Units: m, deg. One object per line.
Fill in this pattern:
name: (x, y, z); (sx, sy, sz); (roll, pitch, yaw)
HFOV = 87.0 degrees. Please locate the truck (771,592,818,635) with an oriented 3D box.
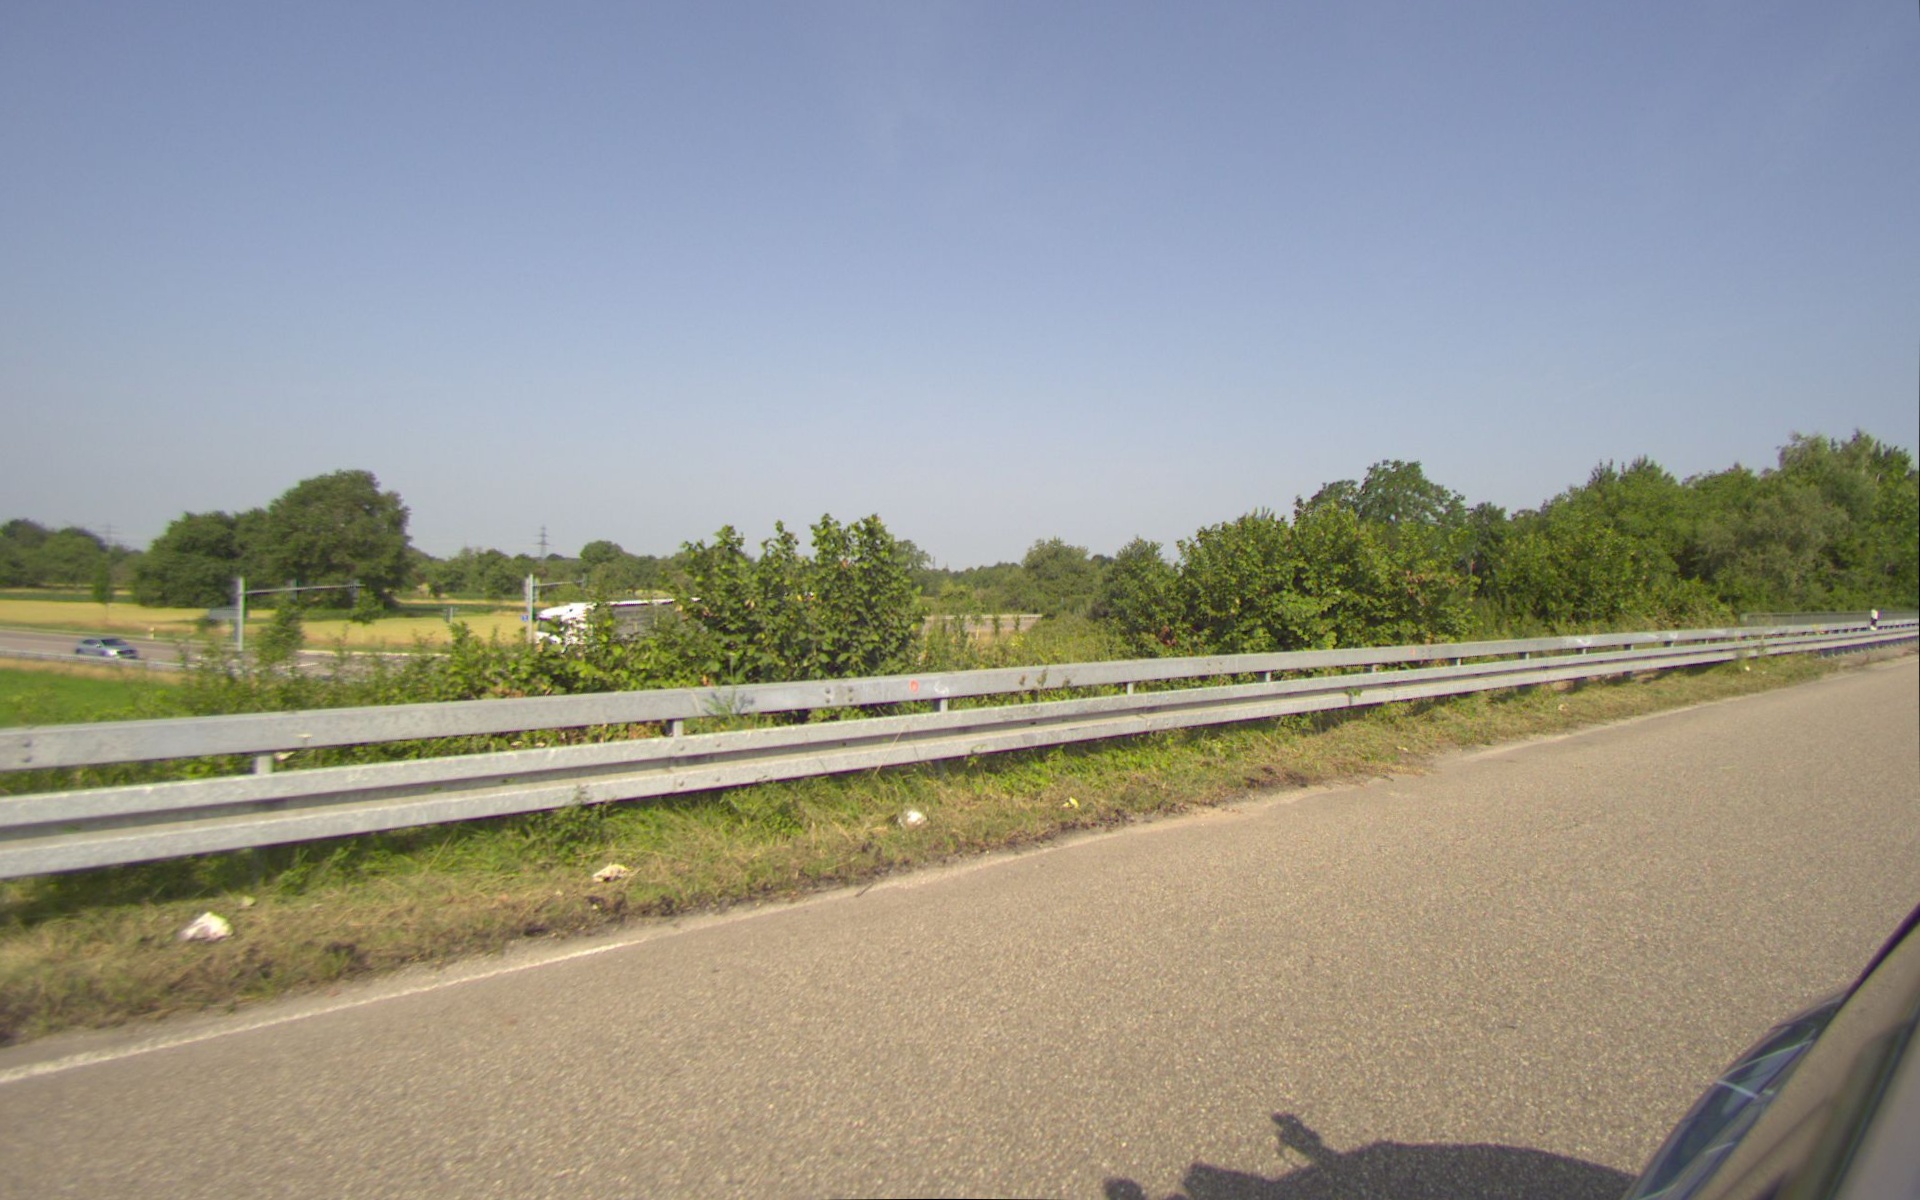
truck: (-16.535, 1.295, 101.364); (2.247, 4.222, 4.317); (1, 1, 35)

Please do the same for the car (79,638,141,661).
car: (-58.663, 3.425, 69.858); (3.558, 1.496, 1.697); (-2, -2, 20)

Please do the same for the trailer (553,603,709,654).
trailer: (-26.125, 2.140, 81.650); (2.093, 3.699, 13.767); (1, 0, 32)

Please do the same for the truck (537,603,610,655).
truck: (-29.254, 2.146, 76.822); (2.093, 3.724, 4.884); (1, 0, 33)

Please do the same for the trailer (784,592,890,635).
trailer: (-12.687, 1.247, 106.959); (2.247, 4.221, 14.245); (1, 1, 34)
